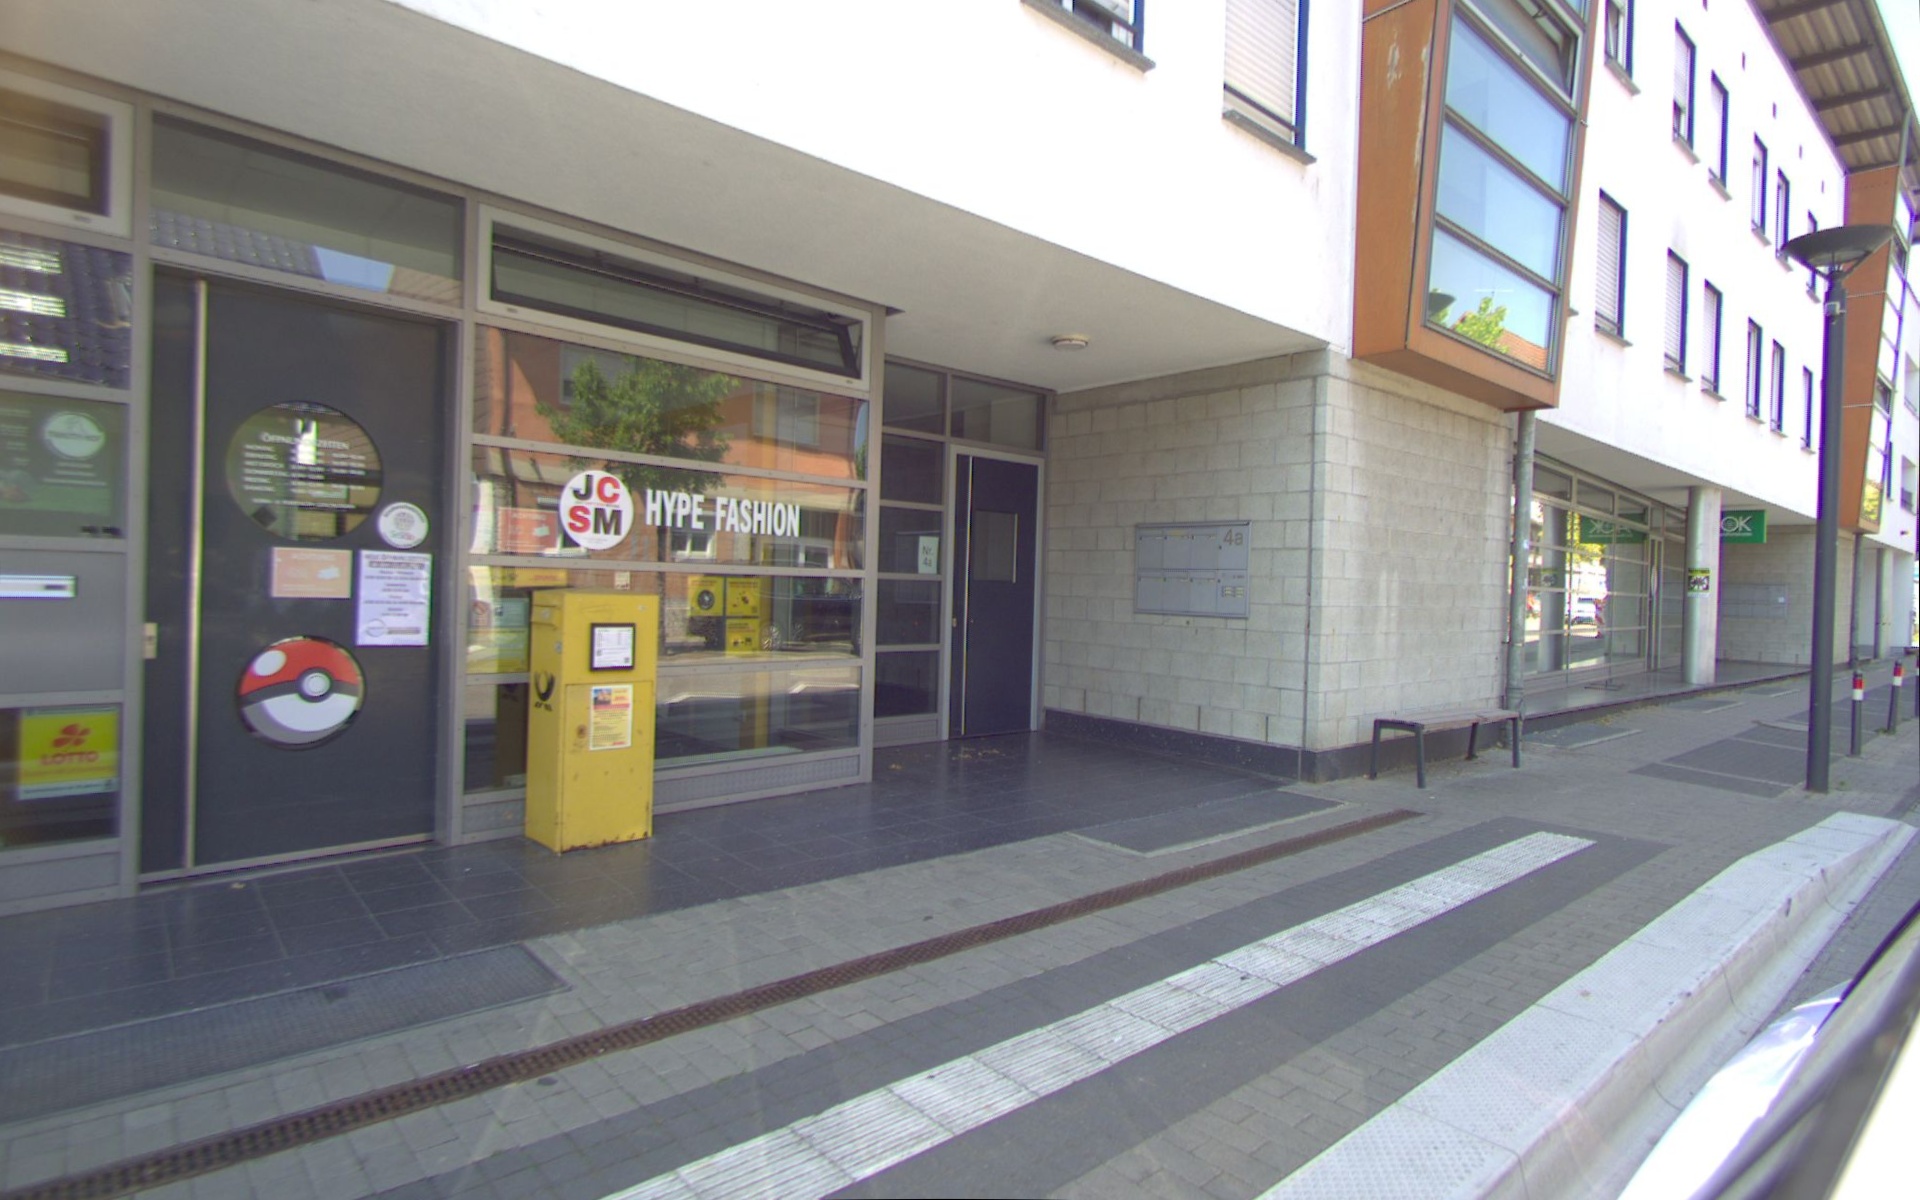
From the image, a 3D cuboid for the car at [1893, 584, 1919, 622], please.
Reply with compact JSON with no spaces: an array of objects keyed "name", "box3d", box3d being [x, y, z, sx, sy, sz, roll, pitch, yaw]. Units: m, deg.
[{"name":"car","box3d":[49.972,0.221,50.954,1.965,1.883,4.201,0,2,-41]}]
